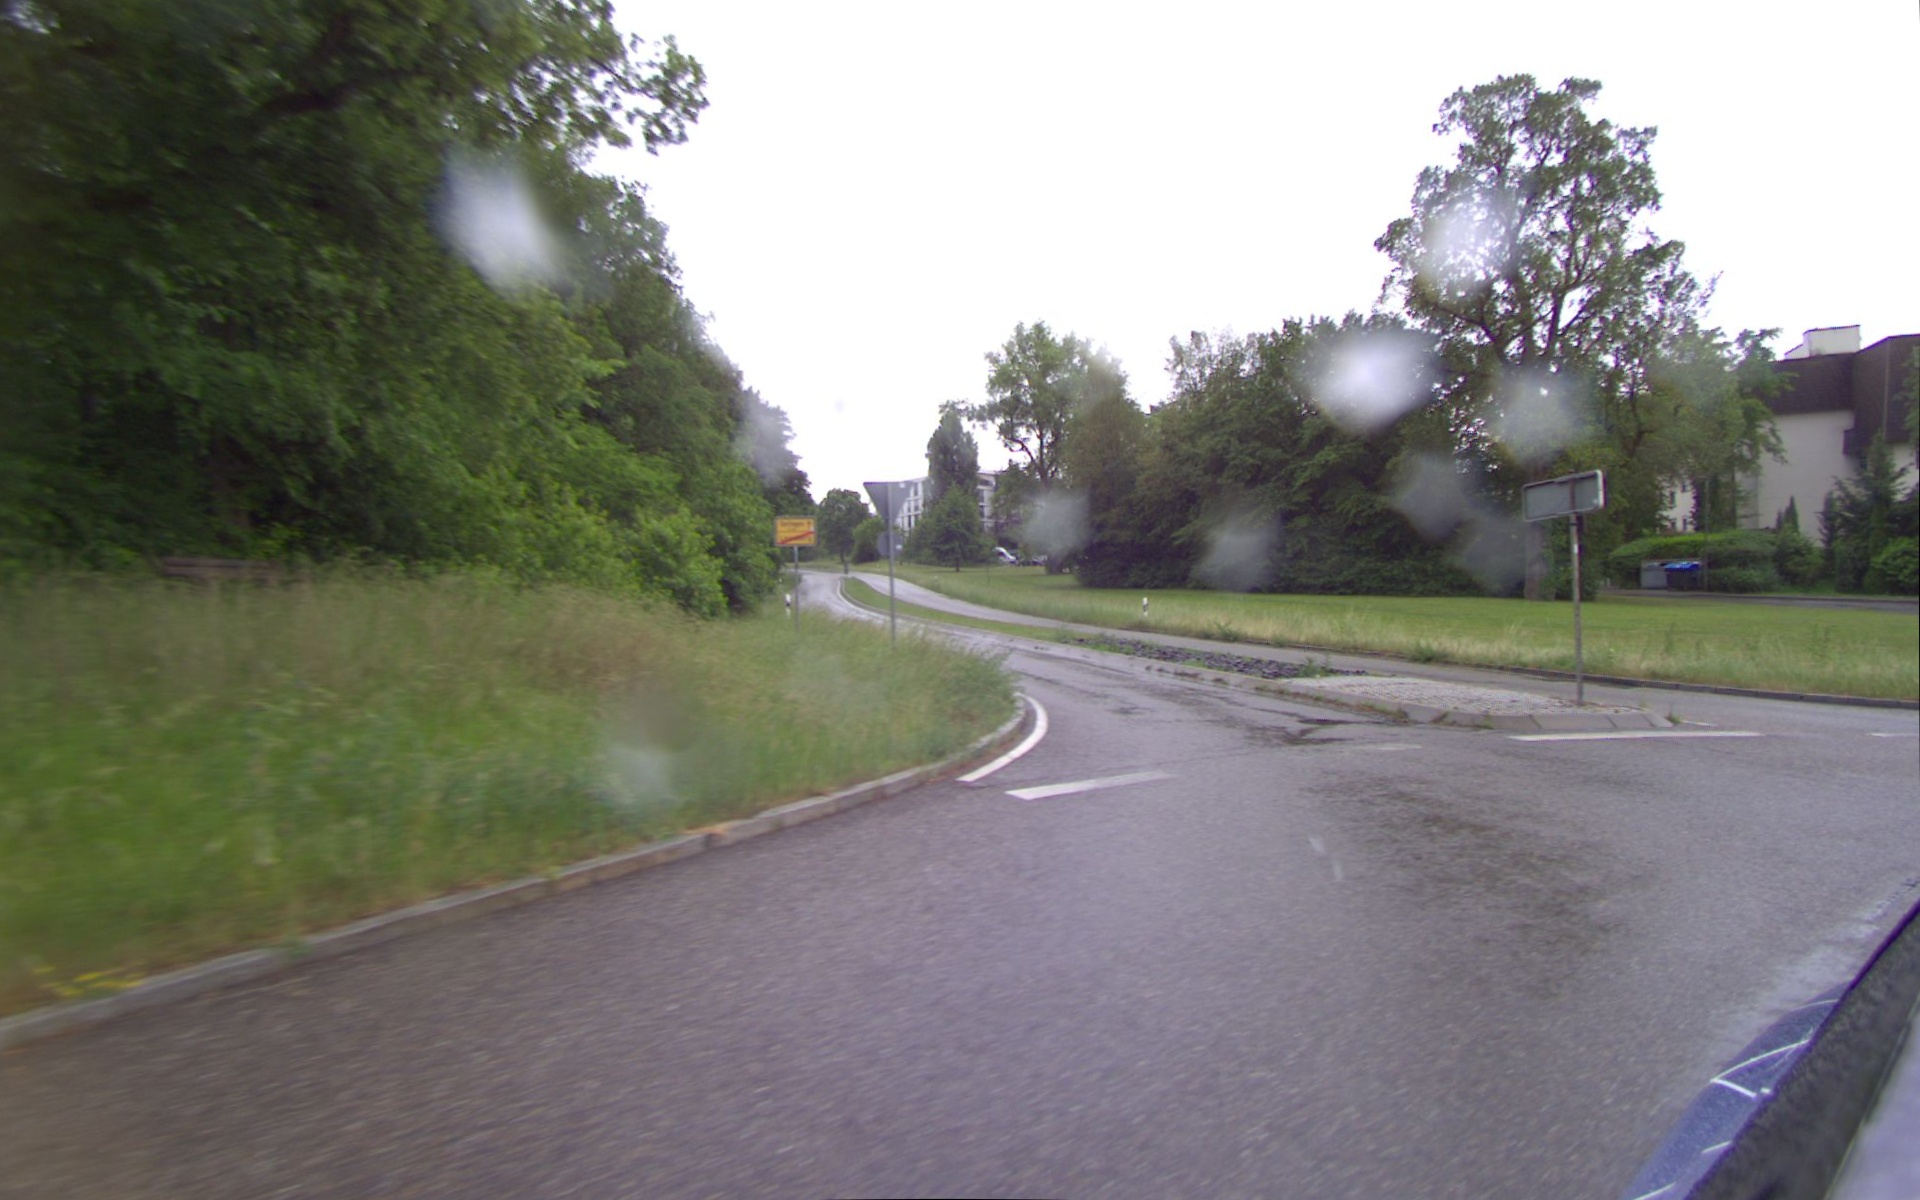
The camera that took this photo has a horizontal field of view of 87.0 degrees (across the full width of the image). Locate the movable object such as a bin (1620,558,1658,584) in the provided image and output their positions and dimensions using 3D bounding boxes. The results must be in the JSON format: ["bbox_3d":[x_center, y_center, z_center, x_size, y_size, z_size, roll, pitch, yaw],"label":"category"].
[{"bbox_3d":[38.854,-1.638,57.898,1.174,1.455,1.430,0,1,-4],"label":"movable object such as a bin"}]

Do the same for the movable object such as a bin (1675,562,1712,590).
[{"bbox_3d":[39.463,-1.312,54.469,1.174,1.455,1.076,-2,1,-3],"label":"movable object such as a bin"}]

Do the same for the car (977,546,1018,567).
[{"bbox_3d":[5.818,-6.776,156.929,5.869,2.685,2.450,-4,-2,32],"label":"car"}]
